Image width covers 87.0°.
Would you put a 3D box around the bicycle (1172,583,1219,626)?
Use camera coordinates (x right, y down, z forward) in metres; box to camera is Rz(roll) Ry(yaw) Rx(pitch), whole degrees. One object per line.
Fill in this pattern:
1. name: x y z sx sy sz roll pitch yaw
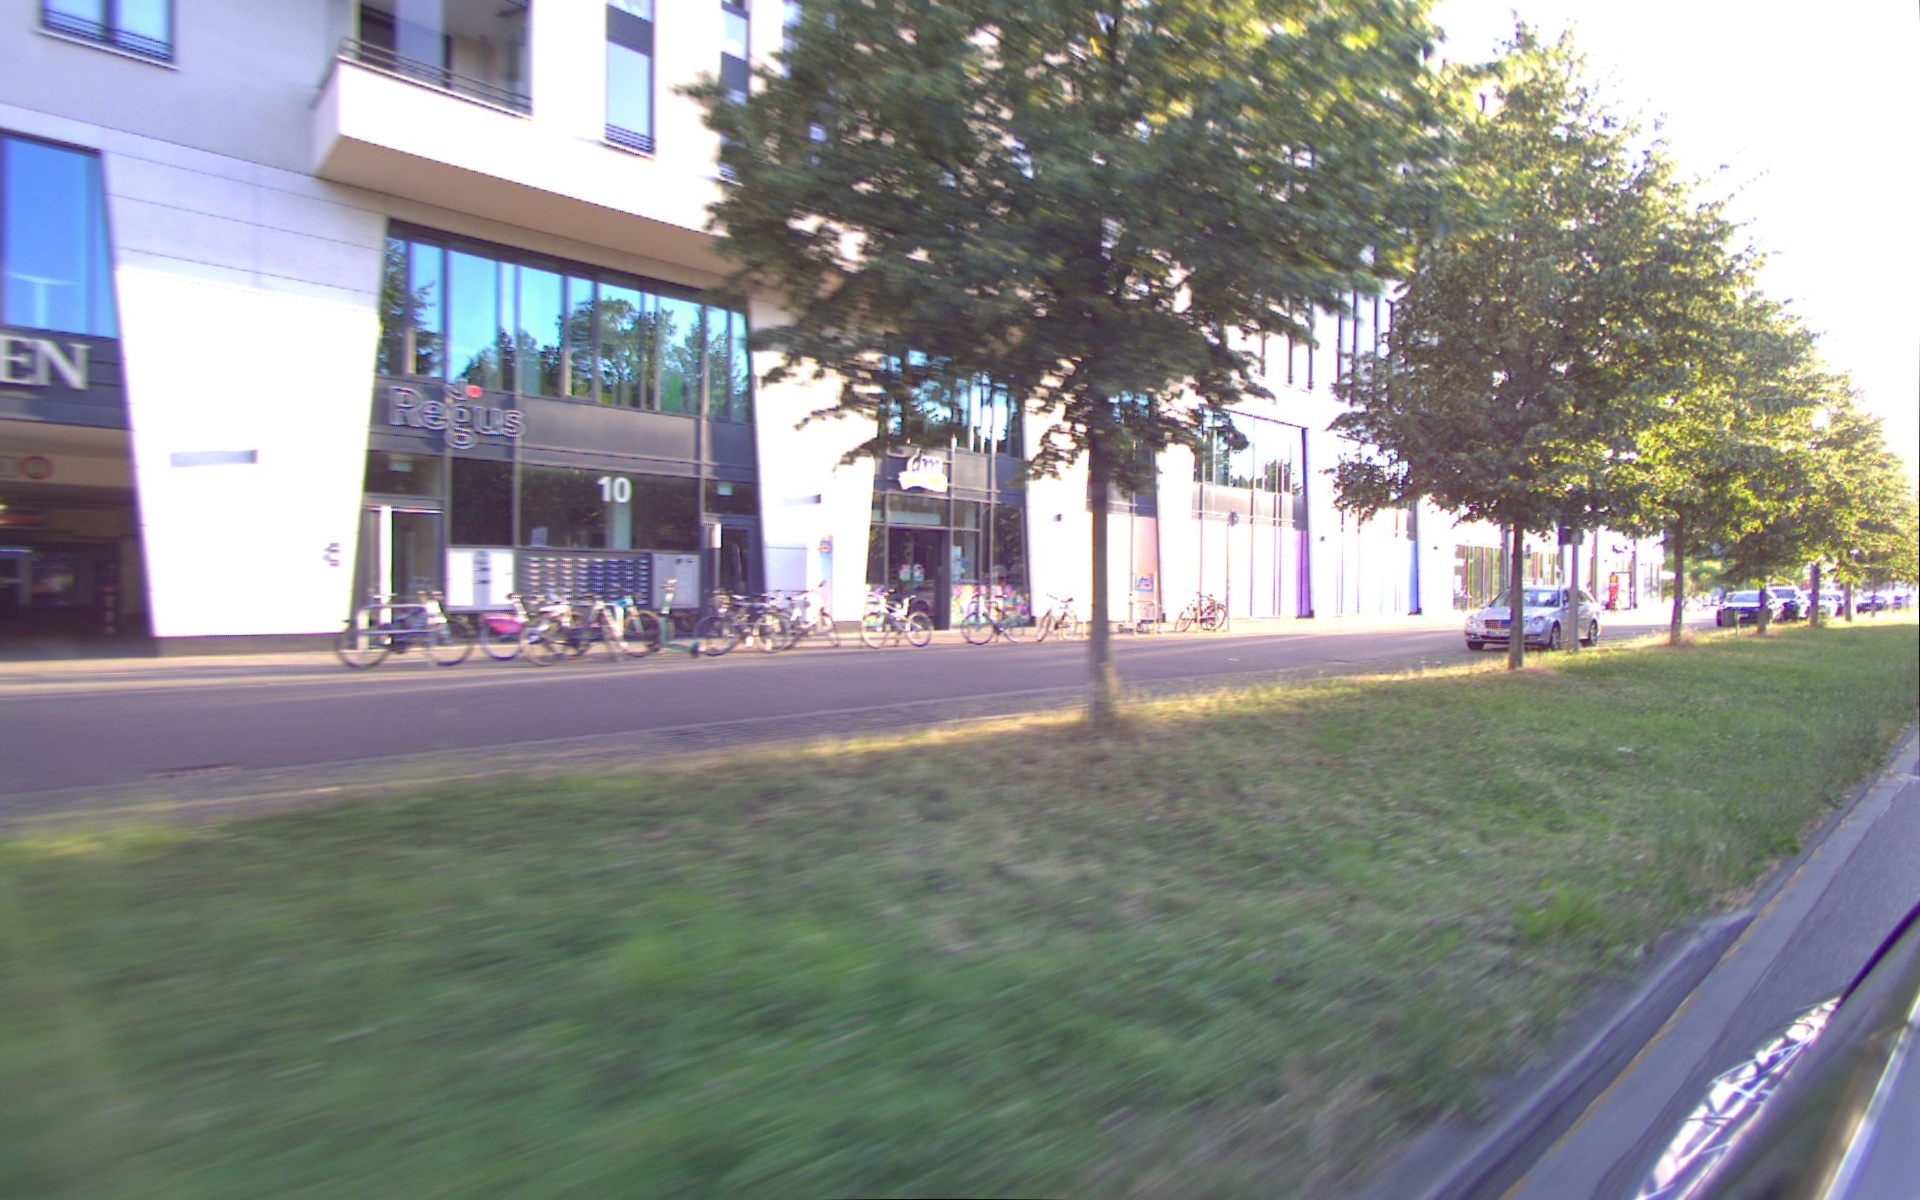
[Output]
1. bicycle: 6.304 0.103 27.032 0.531 1.074 1.834 3 3 35

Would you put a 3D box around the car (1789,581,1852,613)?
1. car: 43.425 -0.188 51.017 4.926 1.519 1.923 0 1 -44

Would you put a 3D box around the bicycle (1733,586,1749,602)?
1. bicycle: 59.120 -0.461 76.634 1.878 1.132 0.544 0 1 -40

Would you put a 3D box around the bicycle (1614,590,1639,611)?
1. bicycle: 34.426 0.032 52.264 2.224 1.046 0.620 -1 2 -44

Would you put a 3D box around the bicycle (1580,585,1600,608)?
1. bicycle: 30.361 -0.173 48.762 0.533 1.073 1.588 1 1 42

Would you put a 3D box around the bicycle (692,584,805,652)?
1. bicycle: -3.552 0.281 17.104 1.825 1.074 0.534 0 3 -43

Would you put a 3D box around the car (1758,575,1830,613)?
1. car: 38.106 -0.280 46.184 4.740 1.644 1.955 0 -1 -43

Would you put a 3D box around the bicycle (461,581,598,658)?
1. bicycle: -6.489 0.272 15.316 1.825 1.074 0.534 0 3 -43

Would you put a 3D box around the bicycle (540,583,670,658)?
1. bicycle: -5.415 0.286 15.507 1.825 1.074 0.534 0 1 -43

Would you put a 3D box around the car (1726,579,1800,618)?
1. car: 32.761 -0.058 41.274 4.160 1.520 1.726 0 0 -42

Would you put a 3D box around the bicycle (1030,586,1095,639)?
1. bicycle: 2.222 0.247 21.781 0.531 1.074 1.834 3 3 35

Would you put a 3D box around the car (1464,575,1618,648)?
1. car: 13.484 0.222 23.372 4.745 1.519 1.810 0 1 -44

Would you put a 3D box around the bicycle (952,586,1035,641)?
1. bicycle: 0.705 0.269 20.894 1.825 1.074 0.534 0 3 -43

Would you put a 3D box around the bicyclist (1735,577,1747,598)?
1. bicyclist: 59.161 -0.962 76.656 1.001 1.588 0.545 0 1 -39

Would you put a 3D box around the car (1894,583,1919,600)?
1. car: 78.797 -0.714 83.899 3.933 1.416 1.751 0 0 -44

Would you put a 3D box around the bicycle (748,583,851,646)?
1. bicycle: -2.902 0.251 18.430 1.825 1.074 0.534 0 3 -43

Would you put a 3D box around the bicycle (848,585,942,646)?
1. bicycle: -1.214 0.277 19.145 1.825 1.074 0.534 0 3 -43

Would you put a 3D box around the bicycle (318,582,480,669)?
1. bicycle: -7.517 0.318 13.613 1.825 1.074 0.534 0 3 -43

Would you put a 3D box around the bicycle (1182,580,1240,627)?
1. bicycle: 6.634 0.079 26.706 1.750 1.178 0.539 0 3 -42

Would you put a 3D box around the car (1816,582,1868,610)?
1. car: 48.895 -0.229 56.085 3.893 1.519 1.810 0 1 -44

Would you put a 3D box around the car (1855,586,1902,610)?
1. car: 65.396 -0.150 72.013 4.290 1.519 1.813 0 3 -39

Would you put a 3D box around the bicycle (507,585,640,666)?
1. bicycle: -5.537 0.336 14.573 0.532 1.074 1.756 3 3 38
